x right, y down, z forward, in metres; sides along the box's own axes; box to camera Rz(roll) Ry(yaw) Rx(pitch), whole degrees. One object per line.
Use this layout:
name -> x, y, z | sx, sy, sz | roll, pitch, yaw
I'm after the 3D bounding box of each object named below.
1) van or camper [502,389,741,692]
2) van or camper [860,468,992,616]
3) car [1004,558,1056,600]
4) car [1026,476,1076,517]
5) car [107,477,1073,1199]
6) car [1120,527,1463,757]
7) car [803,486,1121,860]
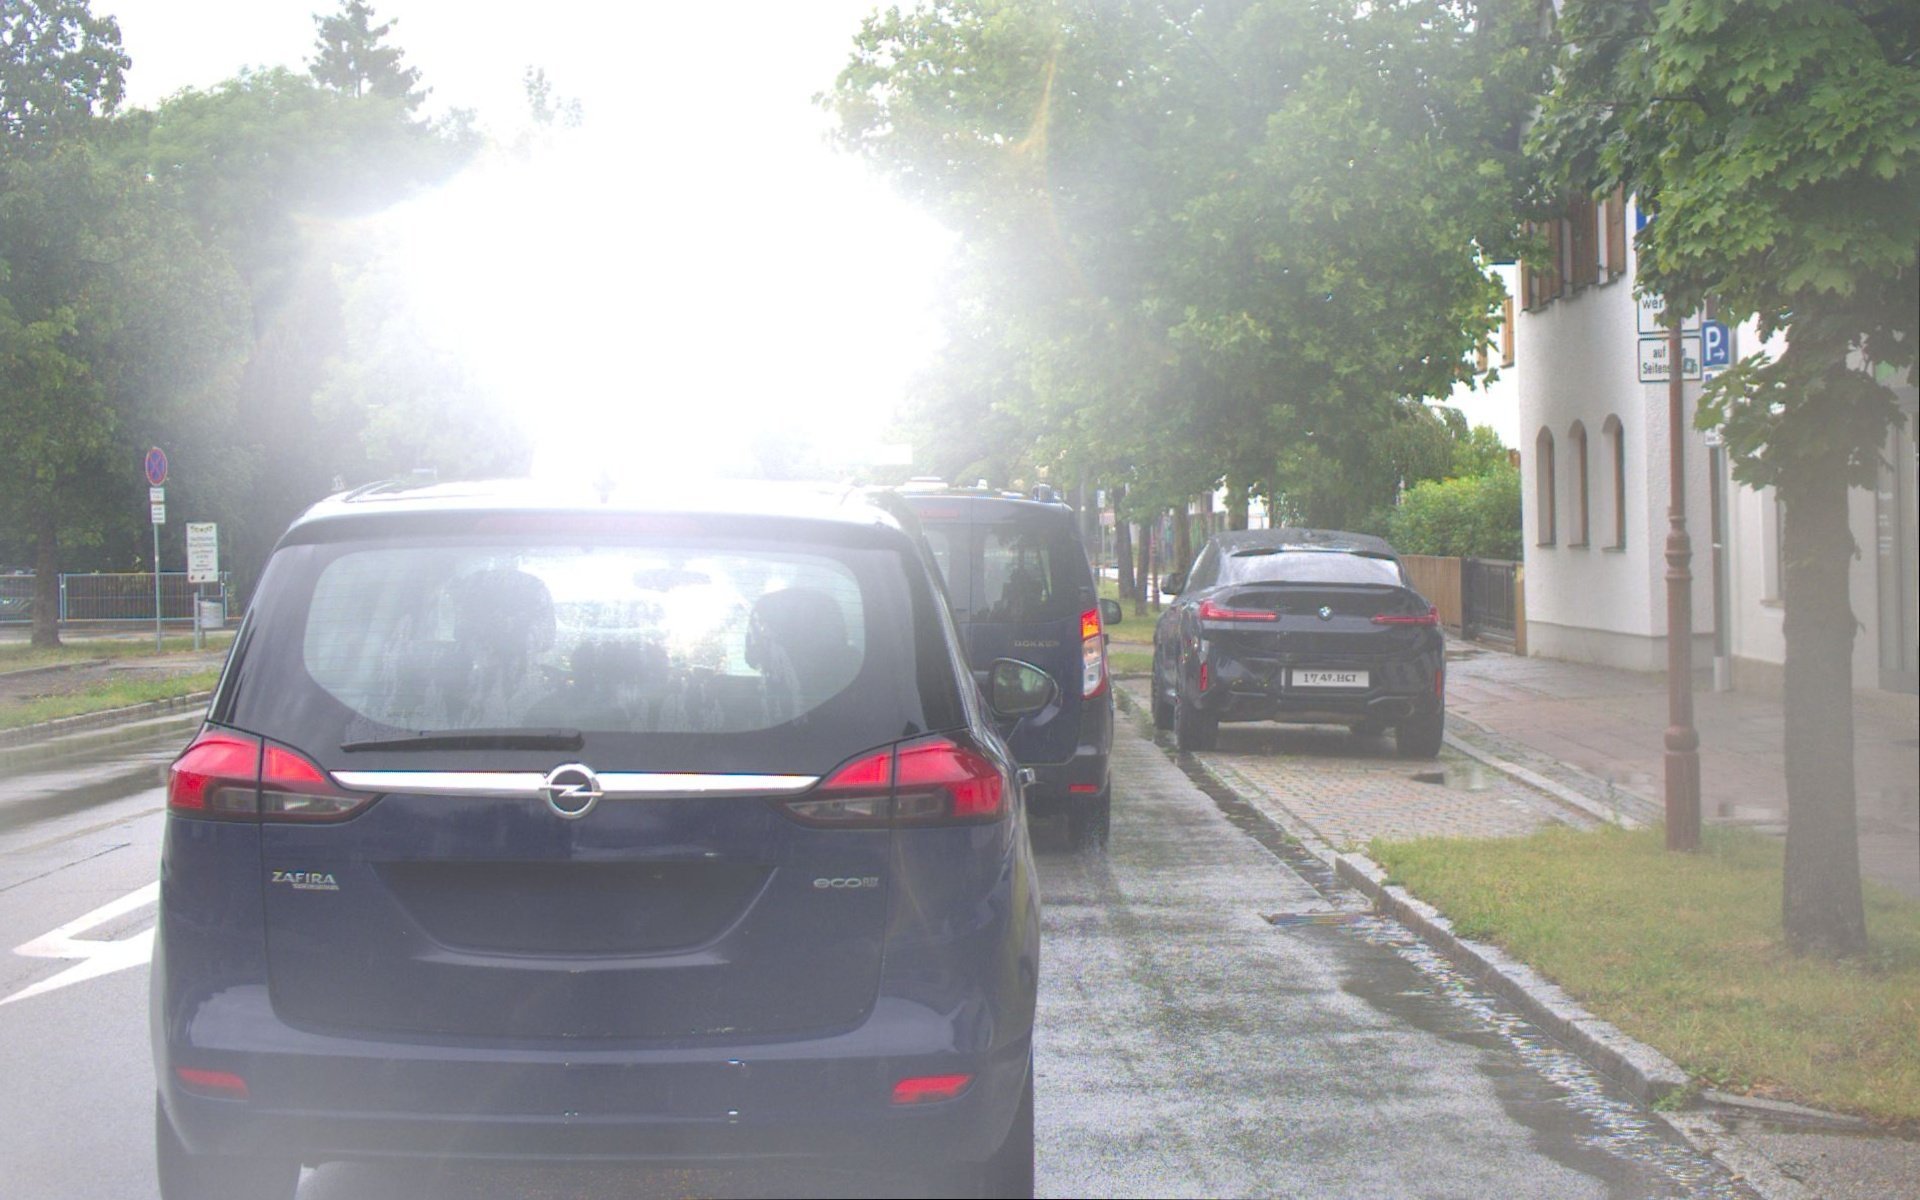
van or camper -> -3.256, -0.592, 34.193 | 2.094, 2.698, 6.269 | -1, 1, -3
van or camper -> -0.631, -1.113, 65.475 | 2.360, 2.656, 5.372 | -1, 1, 0
car -> 2.314, -0.691, 114.656 | 1.630, 1.373, 3.623 | 0, 0, -1
car -> 3.280, -3.721, 124.140 | 1.630, 1.373, 3.623 | -2, 1, 0
car -> -0.693, 0.550, 8.151 | 1.768, 1.599, 3.663 | 0, 1, 0
car -> 2.392, 0.270, 25.806 | 2.117, 1.576, 3.936 | 1, 1, -1
car -> -0.001, 0.323, 17.919 | 1.500, 1.770, 3.112 | 0, 1, 0
